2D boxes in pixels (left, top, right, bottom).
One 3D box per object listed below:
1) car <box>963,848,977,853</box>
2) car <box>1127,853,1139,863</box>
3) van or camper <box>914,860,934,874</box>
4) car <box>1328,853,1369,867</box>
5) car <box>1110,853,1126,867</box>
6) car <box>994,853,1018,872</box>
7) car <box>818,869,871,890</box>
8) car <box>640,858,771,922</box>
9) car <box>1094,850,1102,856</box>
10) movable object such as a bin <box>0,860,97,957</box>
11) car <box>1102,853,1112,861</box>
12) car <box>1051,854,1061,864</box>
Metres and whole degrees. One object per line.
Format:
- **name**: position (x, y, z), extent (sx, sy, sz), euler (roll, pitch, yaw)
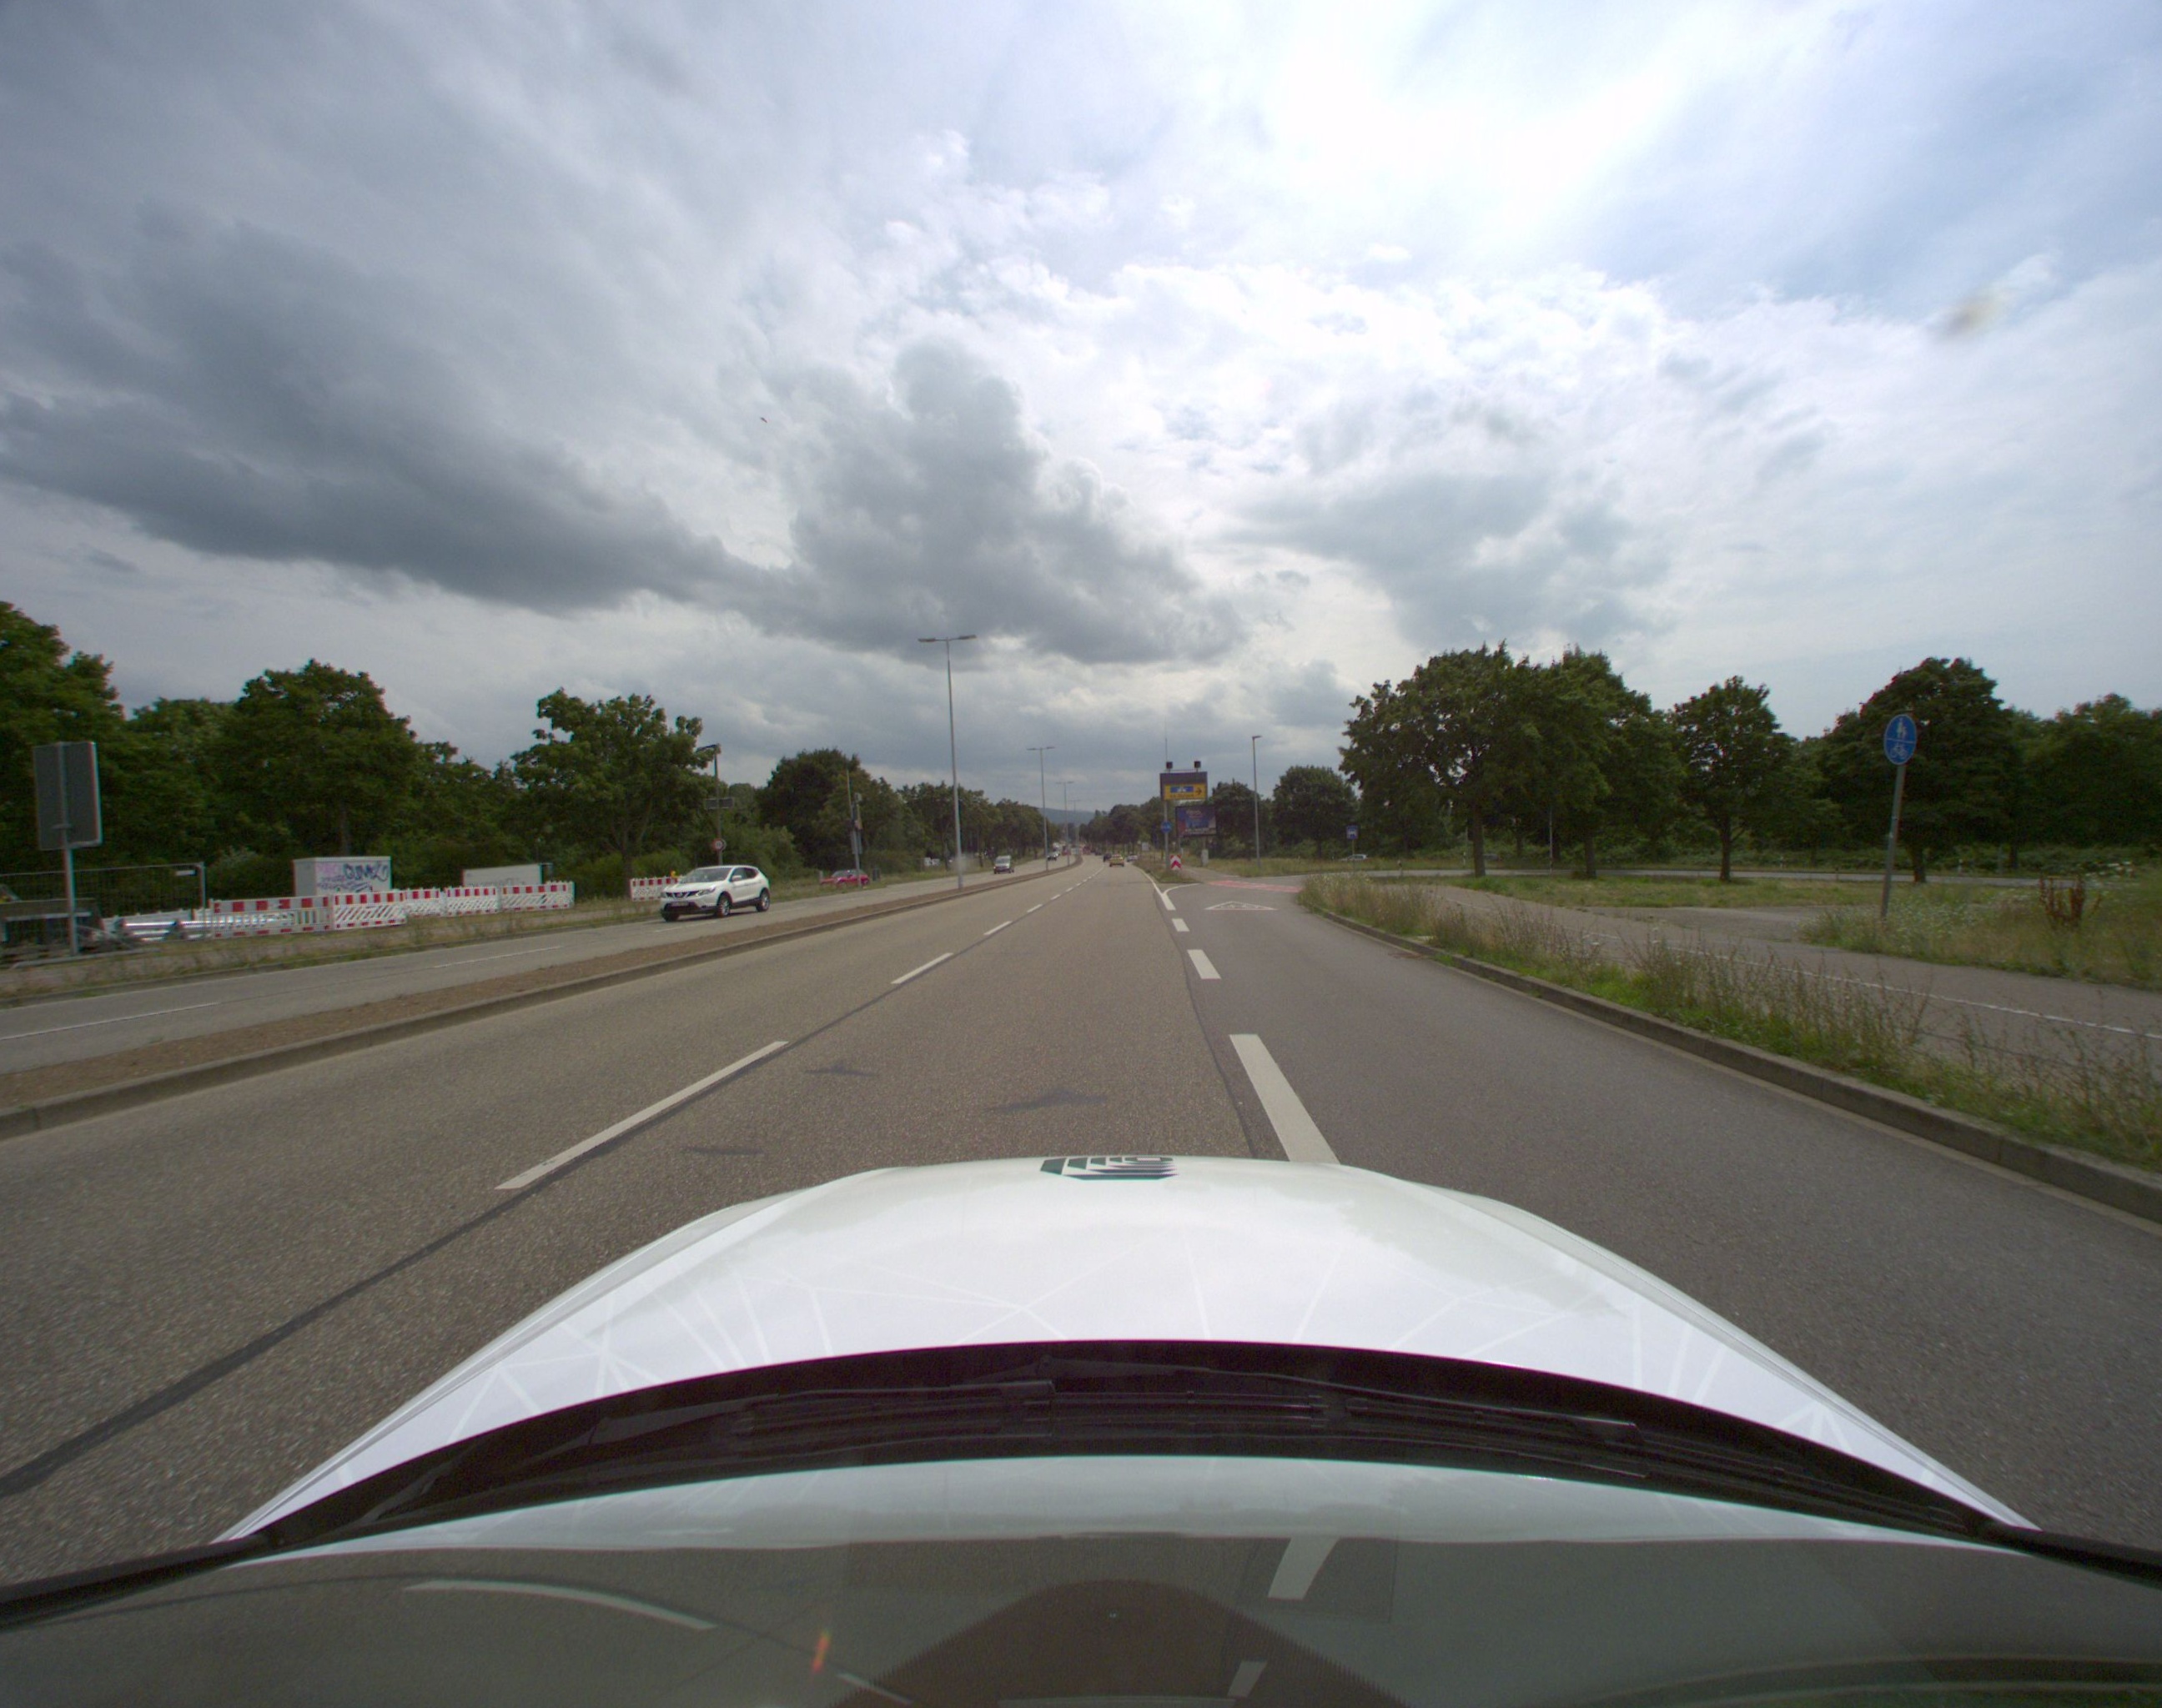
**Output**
- **car**: position (-34.583, -0.962, 253.574), extent (3.758, 1.425, 1.967), euler (-2, 1, 1)
- **car**: position (9.241, 0.639, 145.017), extent (2.007, 1.670, 4.001), euler (-2, 1, 1)
- **van or camper**: position (-31.037, 2.516, 161.622), extent (2.463, 2.540, 6.722), euler (-2, 1, 1)
- **car**: position (30.127, 0.673, 91.852), extent (3.950, 1.464, 1.783), euler (-1, 1, 43)
- **car**: position (4.524, 0.732, 100.120), extent (1.787, 1.562, 4.001), euler (-2, 1, 1)
- **car**: position (-7.798, 0.891, 85.104), extent (1.895, 1.809, 4.543), euler (-2, 1, 2)
- **car**: position (-16.112, 1.721, 55.636), extent (1.392, 1.244, 3.911), euler (-1, 0, 20)
- **car**: position (-11.312, 1.006, 24.932), extent (1.687, 1.629, 4.389), euler (-2, 1, 4)
- **car**: position (4.626, -0.305, 222.275), extent (2.198, 1.683, 4.002), euler (-2, 1, 2)
- **movable object such as a bin**: position (-29.320, 1.452, 21.130), extent (4.574, 2.396, 1.995), euler (-2, 1, -8)
- **car**: position (4.623, 0.592, 144.788), extent (1.661, 1.269, 4.001), euler (-2, 1, 1)
- **car**: position (-5.522, 1.102, 180.268), extent (1.986, 1.811, 4.799), euler (-3, 1, 1)
